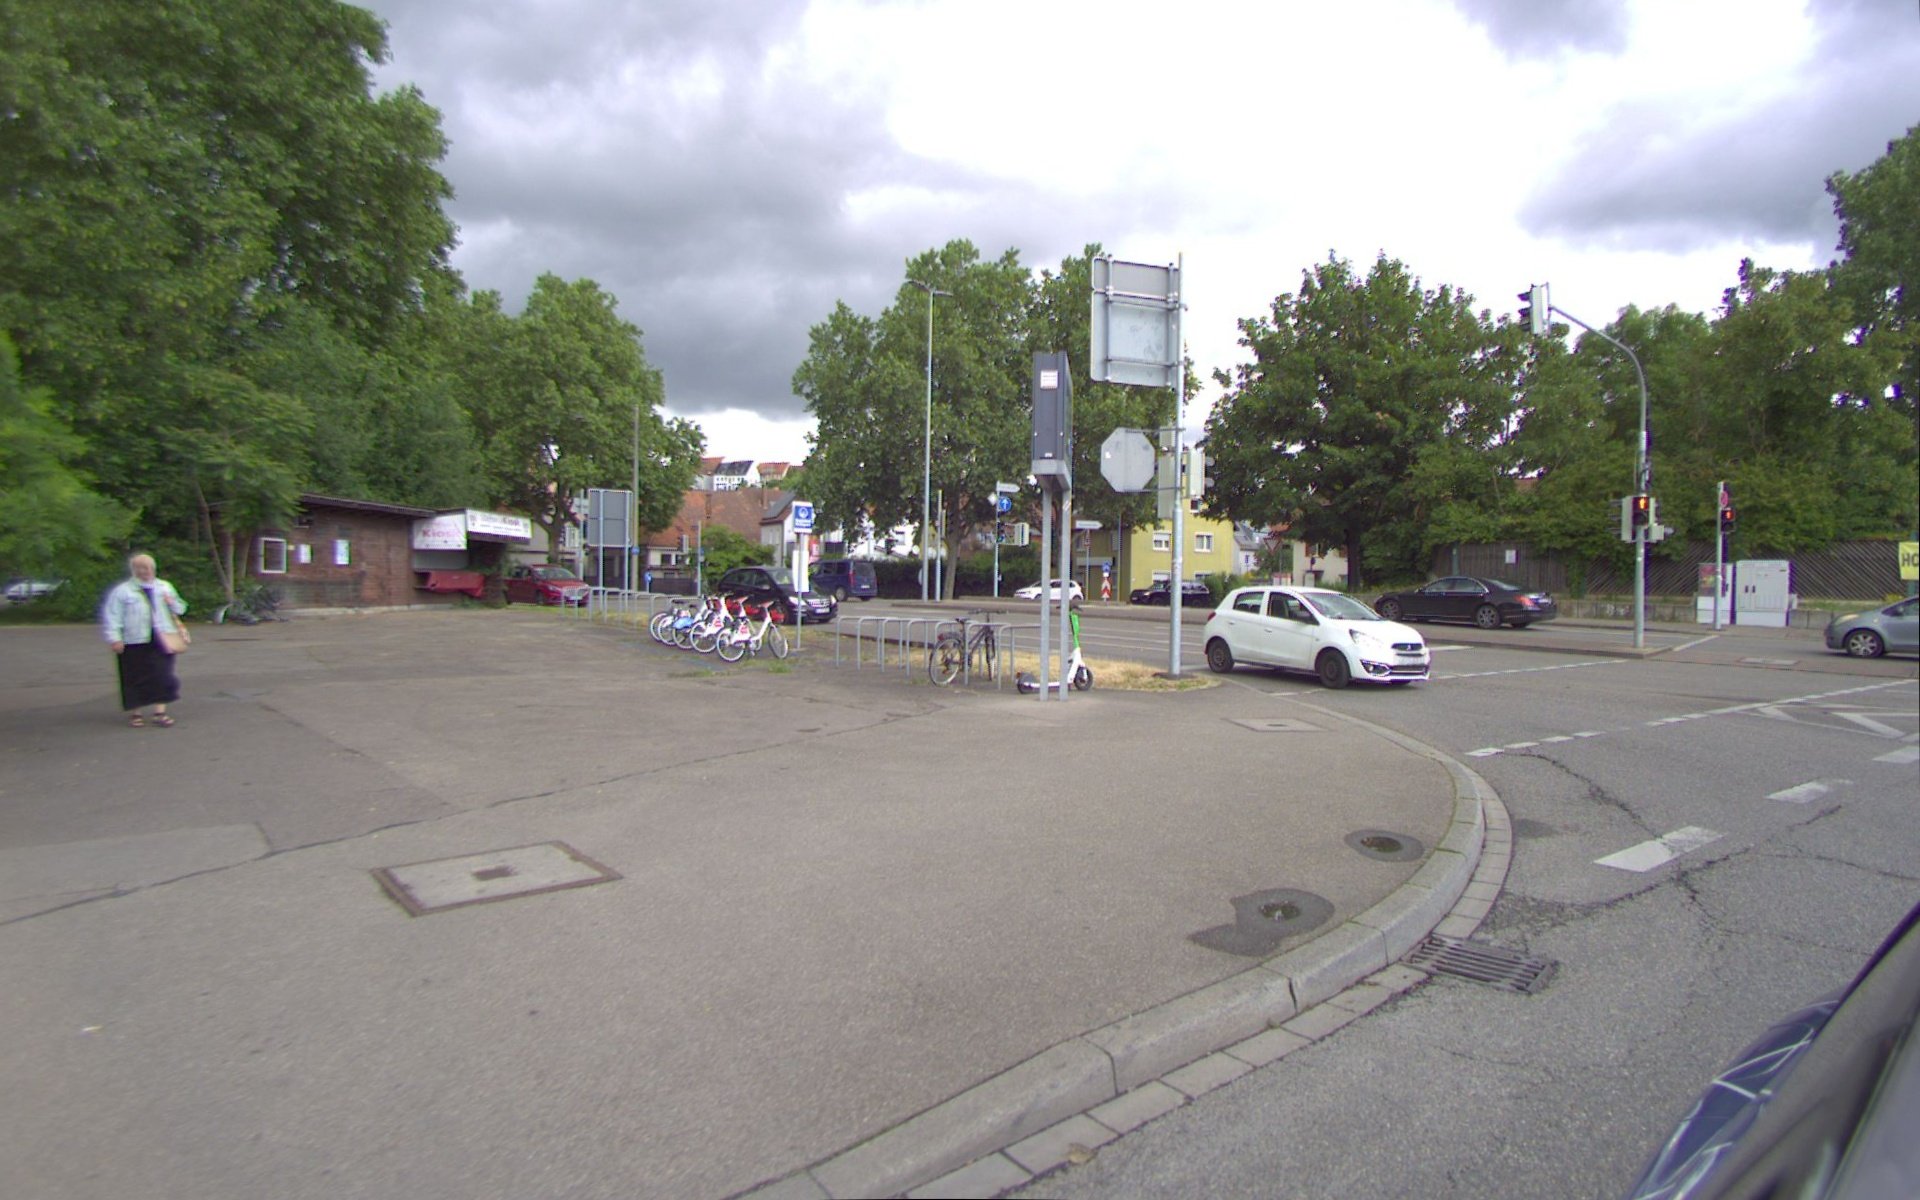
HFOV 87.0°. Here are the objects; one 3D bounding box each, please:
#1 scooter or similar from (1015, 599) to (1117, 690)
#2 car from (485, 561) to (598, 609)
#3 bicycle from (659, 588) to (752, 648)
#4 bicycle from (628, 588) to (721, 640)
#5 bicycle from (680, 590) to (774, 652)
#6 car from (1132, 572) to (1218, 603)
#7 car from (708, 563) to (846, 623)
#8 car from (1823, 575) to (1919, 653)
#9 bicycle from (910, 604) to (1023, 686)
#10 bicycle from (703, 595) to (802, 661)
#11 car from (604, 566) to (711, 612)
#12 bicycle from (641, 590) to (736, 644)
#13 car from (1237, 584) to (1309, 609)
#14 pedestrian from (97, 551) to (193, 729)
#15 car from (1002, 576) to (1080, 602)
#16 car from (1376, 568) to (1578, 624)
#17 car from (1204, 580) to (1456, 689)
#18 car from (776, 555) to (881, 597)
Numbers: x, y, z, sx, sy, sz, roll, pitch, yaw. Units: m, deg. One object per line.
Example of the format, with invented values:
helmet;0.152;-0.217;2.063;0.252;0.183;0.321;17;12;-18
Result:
scooter or similar;1.412;0.563;13.406;1.208;1.126;0.655;0;1;-35
car;-15.966;-0.601;38.547;4.479;1.636;1.874;3;3;35
bicycle;-5.181;0.338;20.663;0.580;1.129;1.785;4;4;44
bicycle;-6.150;0.277;21.884;1.850;1.064;0.597;-1;3;-40
bicycle;-4.614;0.394;20.142;0.580;1.129;1.785;4;4;44
car;12.128;-0.704;57.088;4.495;1.673;1.816;0;1;-22
car;-5.315;-0.272;29.156;4.170;1.550;1.697;2;4;42
car;19.885;0.299;20.193;1.647;1.505;3.786;-1;3;-39
bicycle;0.118;0.606;14.395;1.673;1.058;0.606;-1;2;-45
bicycle;-3.877;0.492;18.980;0.580;1.129;1.785;4;4;44
car;-10.134;-0.377;33.817;3.625;1.450;1.770;1;1;40
bicycle;-5.718;0.327;21.354;1.850;1.064;0.597;-1;3;-40
car;18.538;-0.200;60.029;3.797;1.415;1.667;0;2;-18
pedestrian;-7.449;0.332;9.279;0.659;1.532;0.755;0;2;-38
car;4.272;-0.564;53.465;3.726;1.337;1.814;0;1;-29
car;14.874;-0.173;29.419;1.795;1.468;4.998;0;2;-32
car;5.711;0.440;16.050;1.640;1.466;3.611;-1;2;-27
car;-5.660;-1.045;43.262;4.448;1.727;1.808;2;2;36
